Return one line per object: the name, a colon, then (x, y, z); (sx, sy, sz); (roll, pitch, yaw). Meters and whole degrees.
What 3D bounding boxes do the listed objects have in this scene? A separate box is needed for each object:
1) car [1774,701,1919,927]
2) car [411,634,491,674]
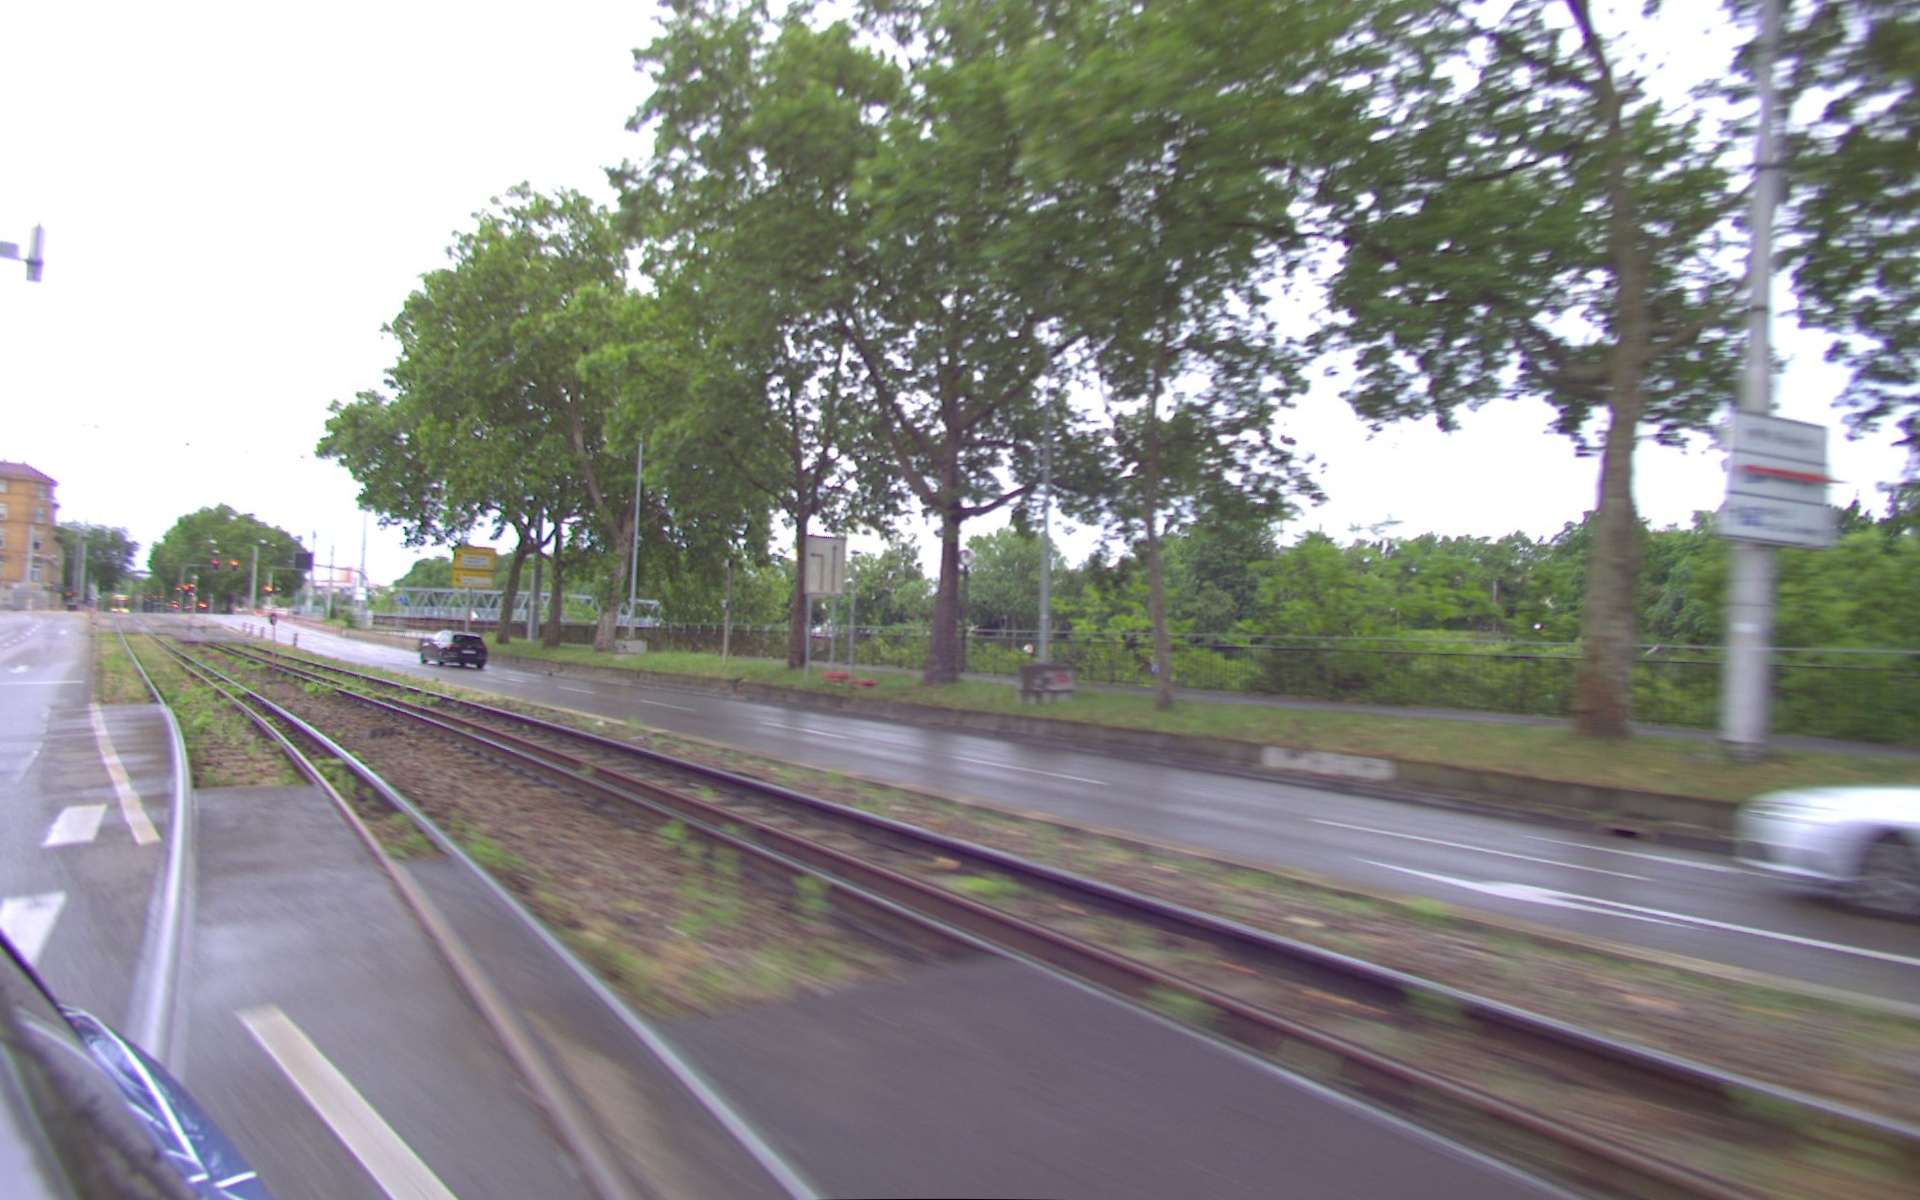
car: (8.325, 1.554, 6.412); (1.688, 1.510, 4.726); (8, -6, -41)
car: (-20.955, 2.194, 41.572); (1.725, 1.440, 4.566); (7, -5, -41)
